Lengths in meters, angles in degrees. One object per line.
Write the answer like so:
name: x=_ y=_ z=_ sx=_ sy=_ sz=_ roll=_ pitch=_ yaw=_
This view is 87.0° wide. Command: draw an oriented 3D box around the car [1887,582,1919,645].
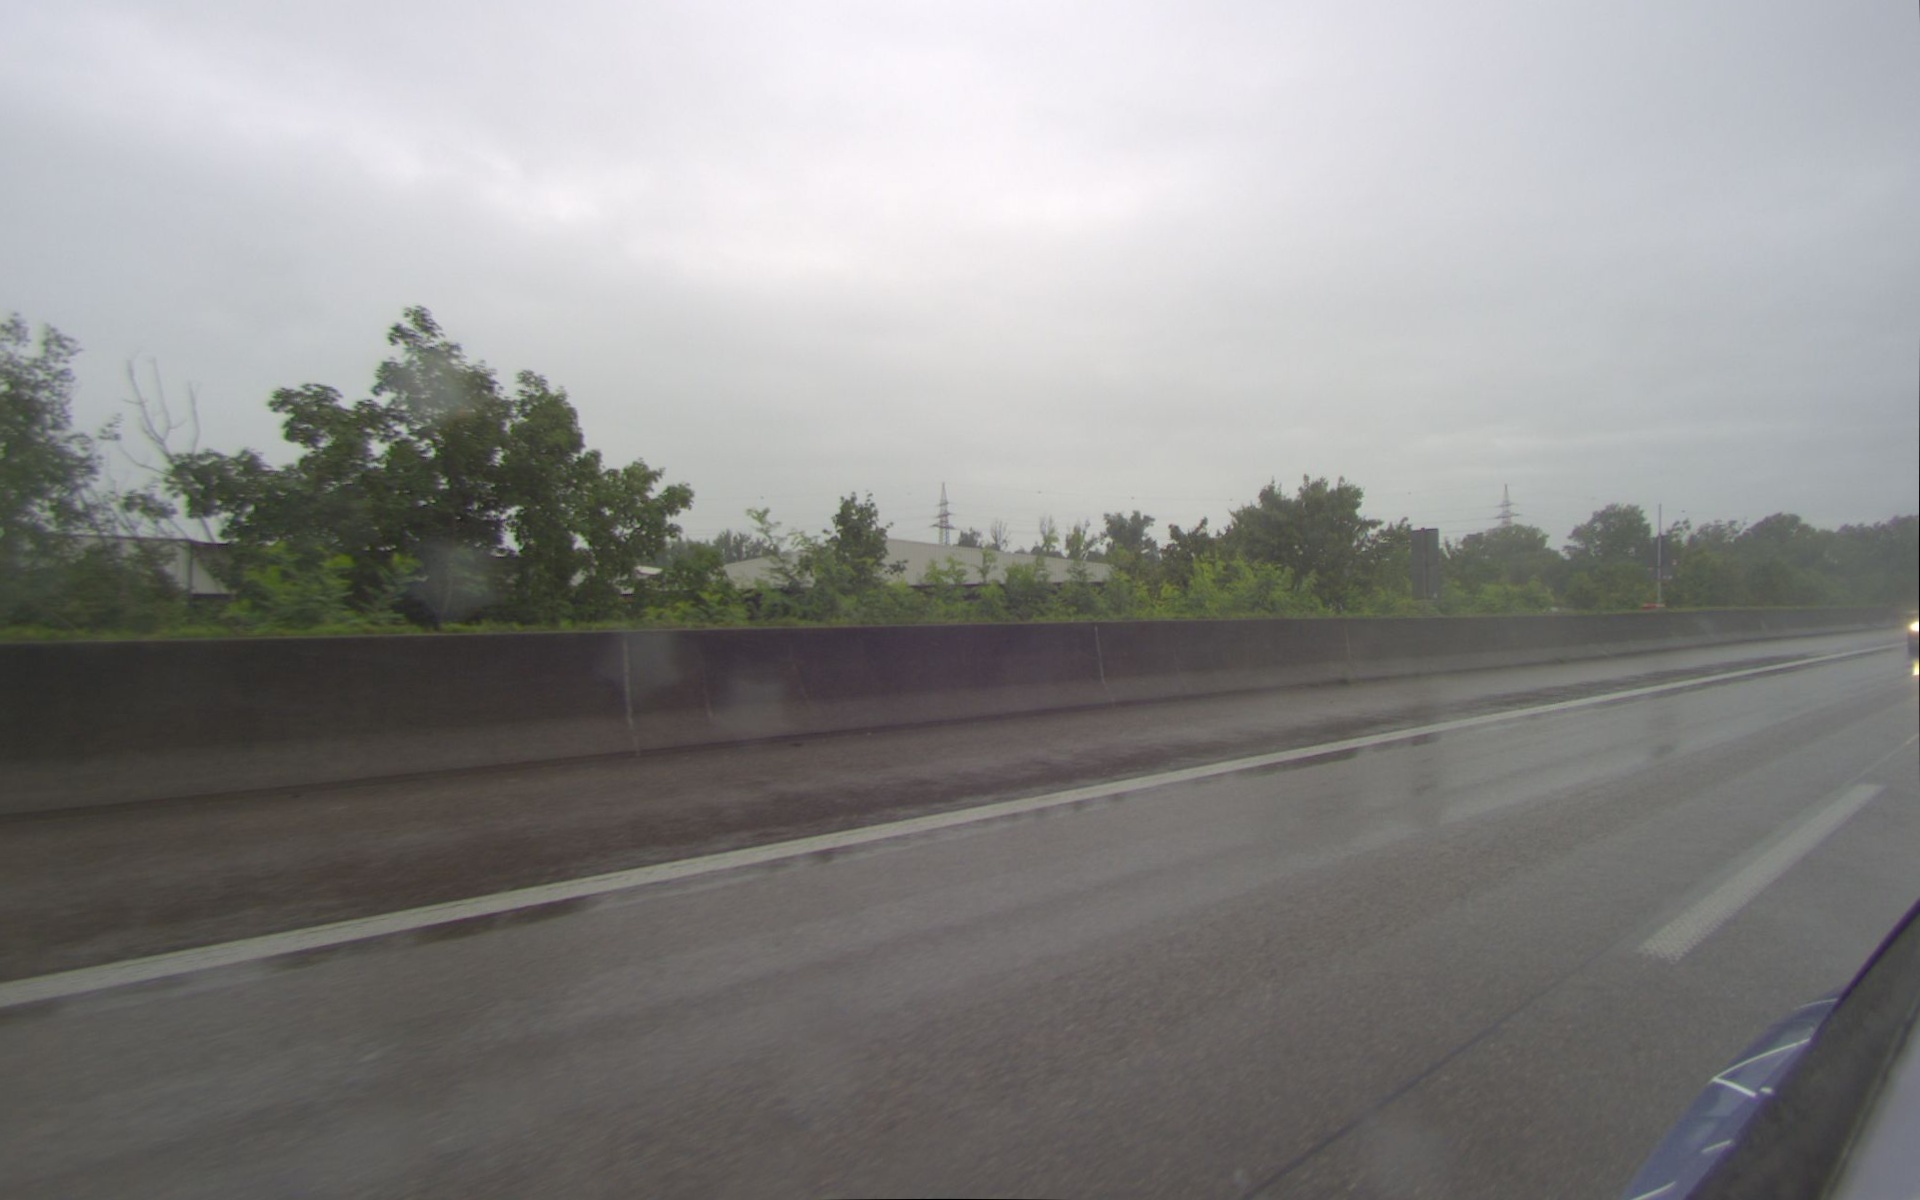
car: x=29.807 y=0.389 z=30.069 sx=5.614 sy=1.768 sz=2.463 roll=0 pitch=0 yaw=-38
